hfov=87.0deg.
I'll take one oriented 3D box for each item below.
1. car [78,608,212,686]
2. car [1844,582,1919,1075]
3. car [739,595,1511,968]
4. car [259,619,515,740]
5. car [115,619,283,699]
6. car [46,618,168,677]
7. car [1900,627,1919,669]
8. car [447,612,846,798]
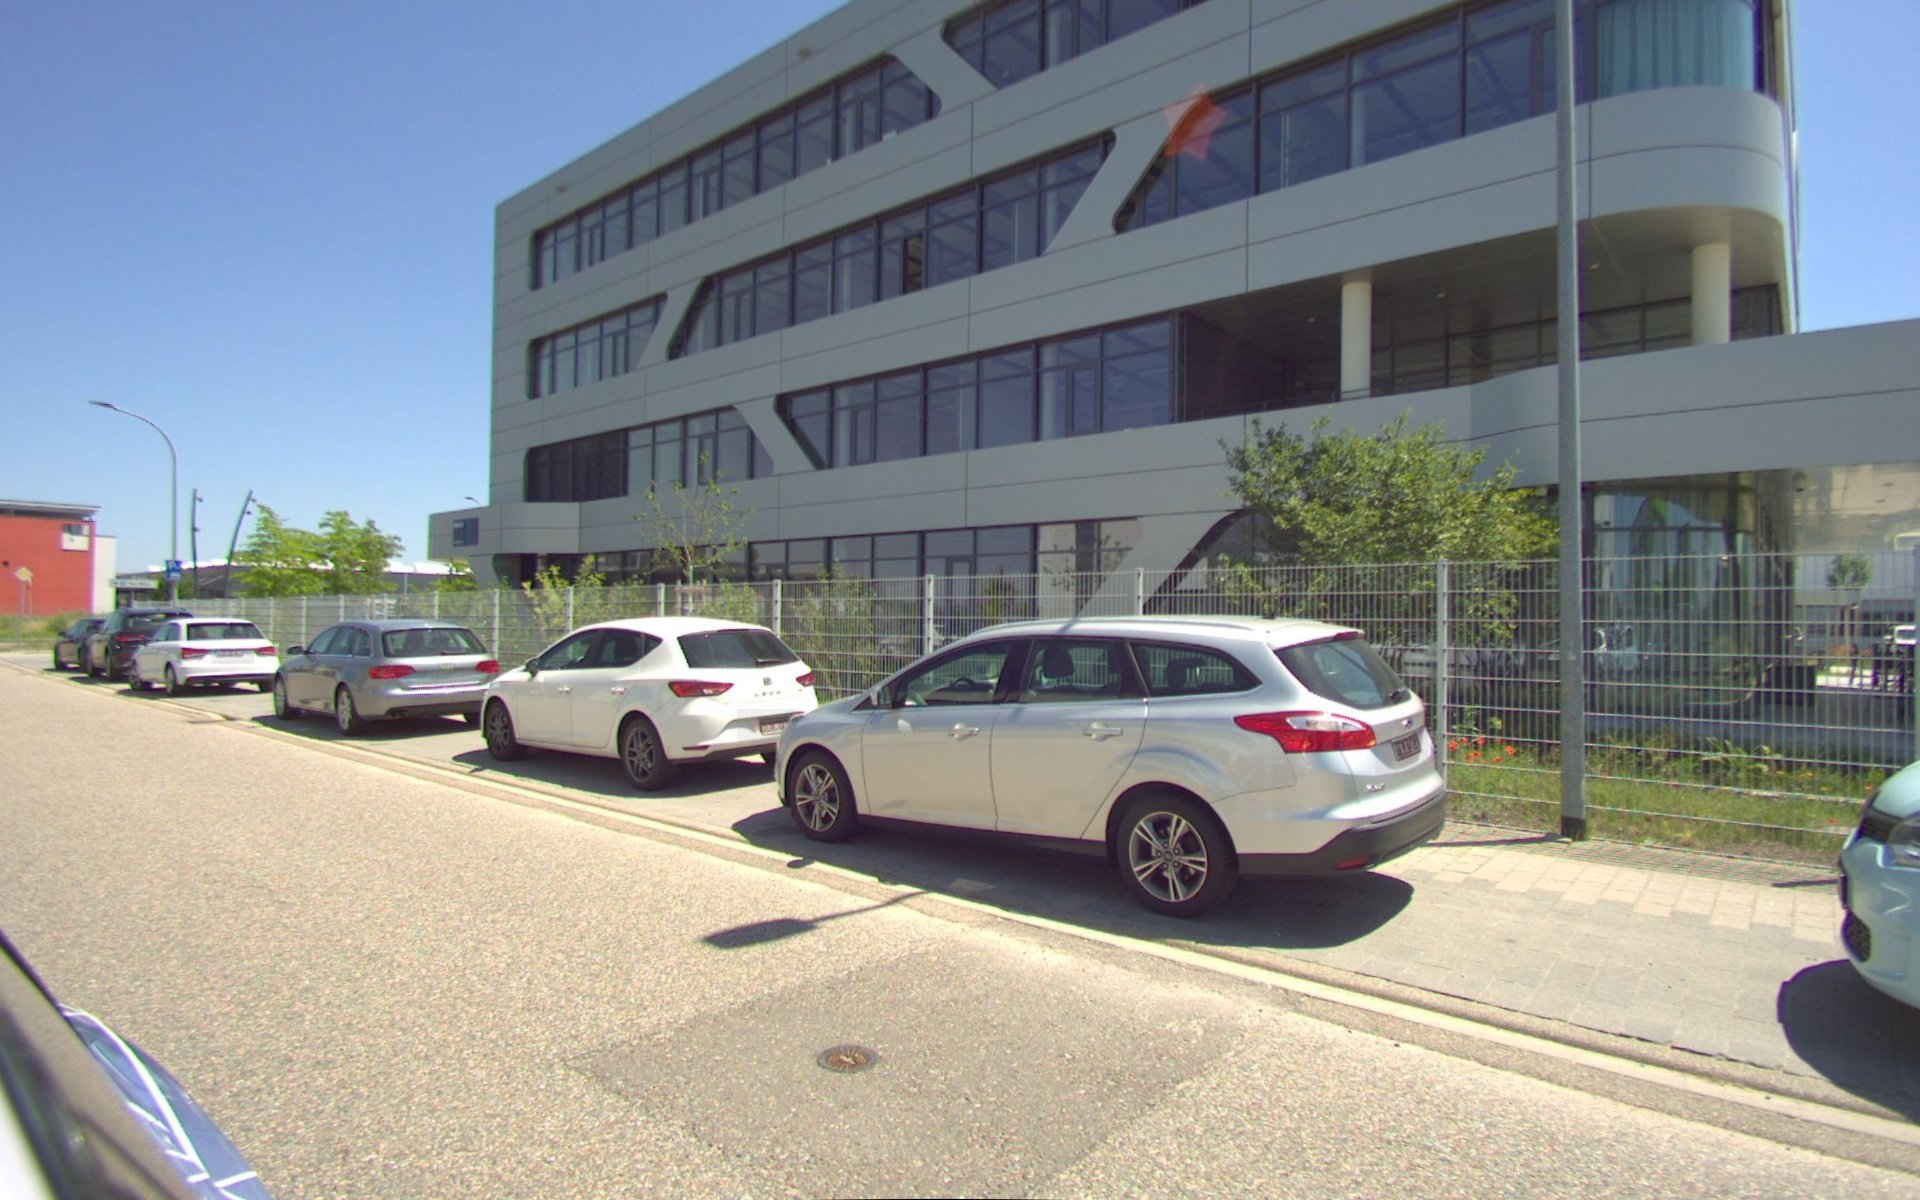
[{"bbox_3d":[-19.229,1.057,23.792,4.850,1.664,1.750,-1,-2,43],"label":"car"},{"bbox_3d":[4.828,0.703,2.698,3.655,1.548,1.618,-1,0,40],"label":"car"},{"bbox_3d":[0.713,0.770,6.335,4.568,1.548,1.686,-1,0,40],"label":"car"},{"bbox_3d":[-7.991,0.977,13.912,4.637,1.396,1.666,-1,-2,42],"label":"car"},{"bbox_3d":[-14.857,1.088,19.700,3.932,1.396,1.683,-1,-2,38],"label":"car"},{"bbox_3d":[-23.194,1.239,27.474,4.181,1.477,1.752,-1,-2,39],"label":"car"},{"bbox_3d":[38.212,1.893,39.611,1.921,1.597,3.945,-1,-2,41],"label":"car"},{"bbox_3d":[-3.280,0.857,10.082,4.436,1.454,1.686,-1,0,40],"label":"car"}]
